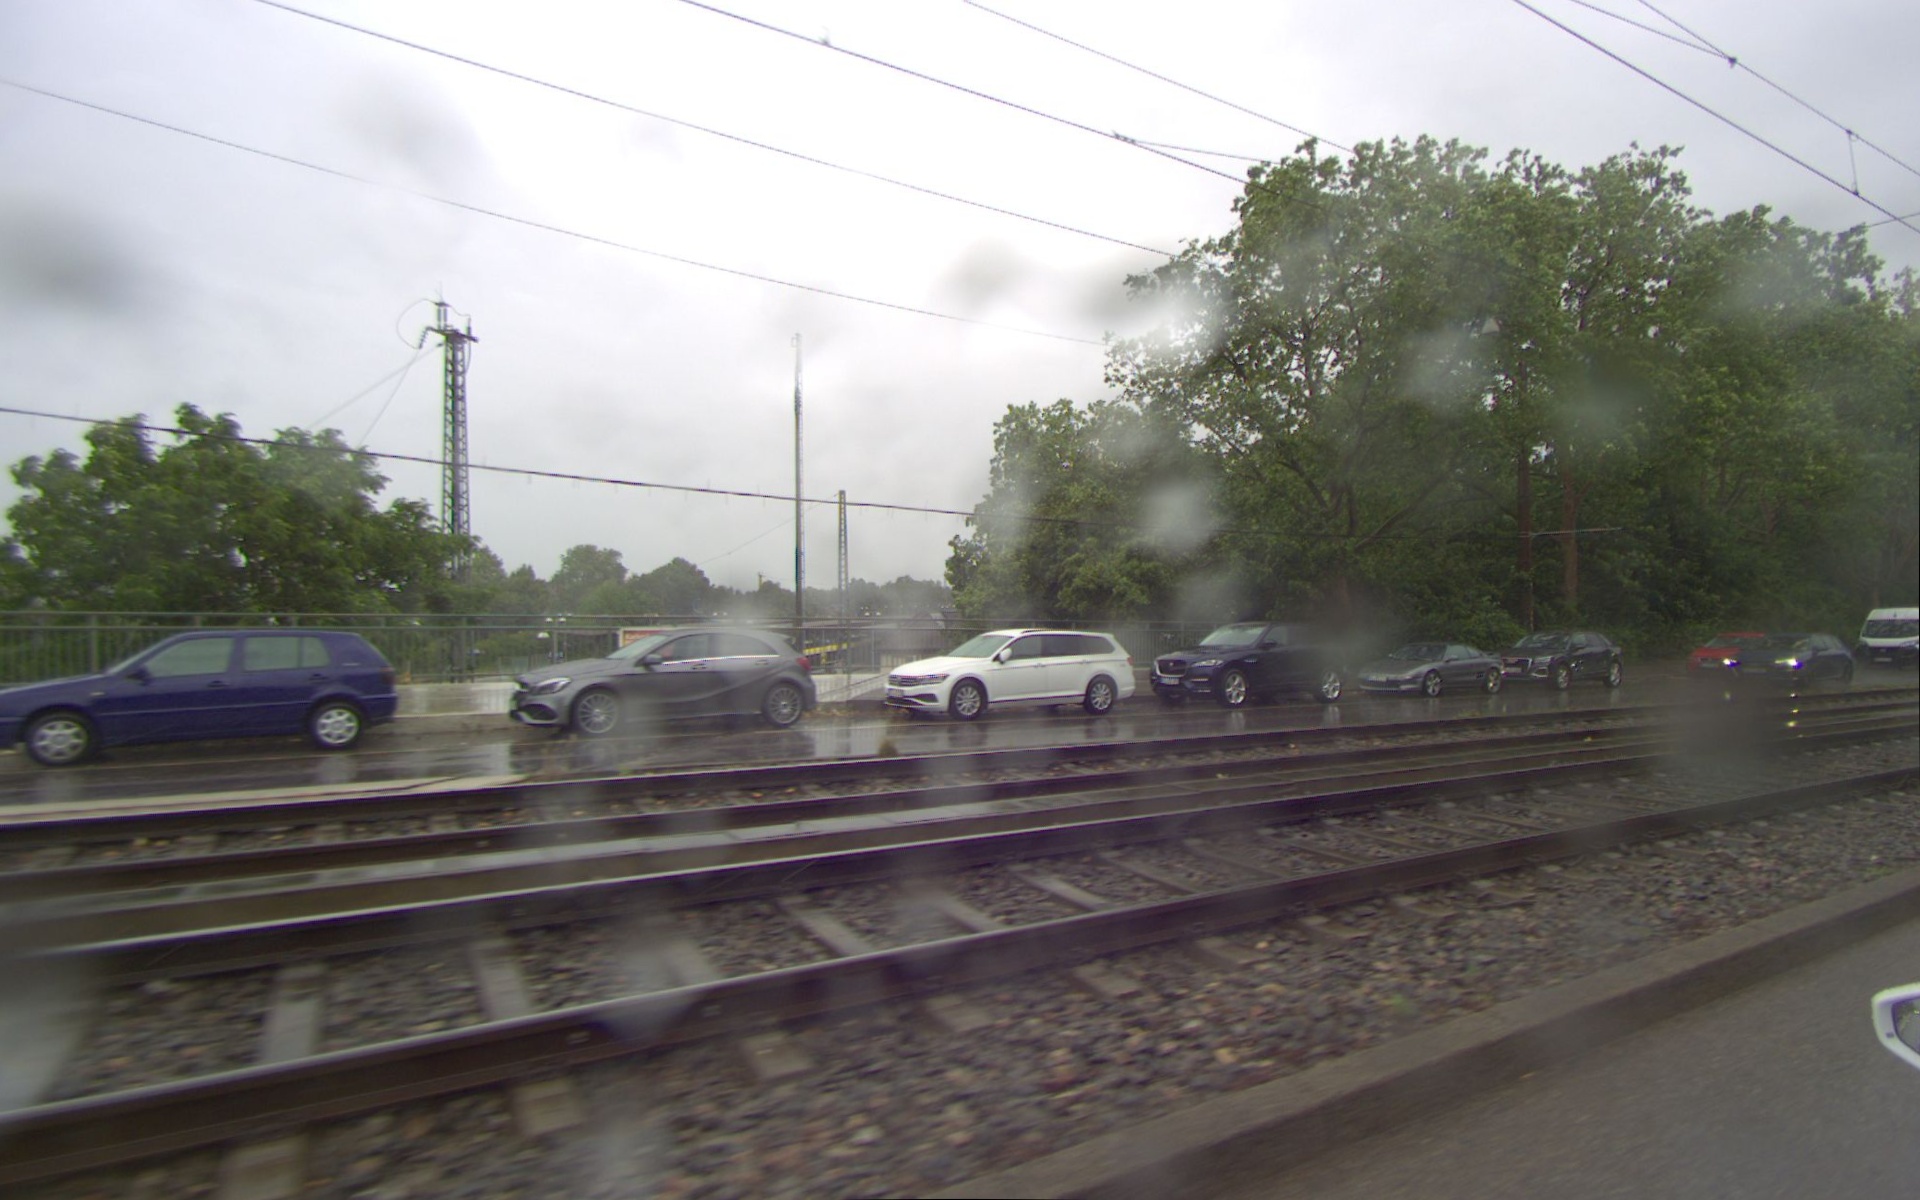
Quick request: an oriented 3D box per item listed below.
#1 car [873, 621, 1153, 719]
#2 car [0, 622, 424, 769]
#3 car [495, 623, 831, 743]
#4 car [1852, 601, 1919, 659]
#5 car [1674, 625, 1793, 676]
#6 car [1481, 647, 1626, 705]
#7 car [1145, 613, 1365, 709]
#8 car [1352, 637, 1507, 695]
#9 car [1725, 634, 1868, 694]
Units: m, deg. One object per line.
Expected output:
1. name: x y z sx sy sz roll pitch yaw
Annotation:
1. car: 1.002 1.181 17.452 4.839 1.418 1.499 0 -5 -32
2. car: -8.664 1.018 11.652 4.234 1.419 1.498 0 -2 -33
3. car: -4.146 1.092 14.376 4.364 1.419 1.496 0 -2 -36
4. car: 38.065 1.171 40.371 5.750 2.198 1.732 0 -2 -33
5. car: 25.131 1.609 32.593 4.213 1.461 1.602 0 -2 -31
6. car: 15.697 1.958 26.513 4.047 1.309 1.499 0 -2 -31
7. car: 6.062 1.170 20.409 4.780 1.694 1.498 0 -2 -32
8. car: 11.066 1.511 23.628 3.669 1.188 1.498 0 -2 -31
9. car: 22.924 1.700 27.480 4.652 1.419 1.499 0 -2 -31
